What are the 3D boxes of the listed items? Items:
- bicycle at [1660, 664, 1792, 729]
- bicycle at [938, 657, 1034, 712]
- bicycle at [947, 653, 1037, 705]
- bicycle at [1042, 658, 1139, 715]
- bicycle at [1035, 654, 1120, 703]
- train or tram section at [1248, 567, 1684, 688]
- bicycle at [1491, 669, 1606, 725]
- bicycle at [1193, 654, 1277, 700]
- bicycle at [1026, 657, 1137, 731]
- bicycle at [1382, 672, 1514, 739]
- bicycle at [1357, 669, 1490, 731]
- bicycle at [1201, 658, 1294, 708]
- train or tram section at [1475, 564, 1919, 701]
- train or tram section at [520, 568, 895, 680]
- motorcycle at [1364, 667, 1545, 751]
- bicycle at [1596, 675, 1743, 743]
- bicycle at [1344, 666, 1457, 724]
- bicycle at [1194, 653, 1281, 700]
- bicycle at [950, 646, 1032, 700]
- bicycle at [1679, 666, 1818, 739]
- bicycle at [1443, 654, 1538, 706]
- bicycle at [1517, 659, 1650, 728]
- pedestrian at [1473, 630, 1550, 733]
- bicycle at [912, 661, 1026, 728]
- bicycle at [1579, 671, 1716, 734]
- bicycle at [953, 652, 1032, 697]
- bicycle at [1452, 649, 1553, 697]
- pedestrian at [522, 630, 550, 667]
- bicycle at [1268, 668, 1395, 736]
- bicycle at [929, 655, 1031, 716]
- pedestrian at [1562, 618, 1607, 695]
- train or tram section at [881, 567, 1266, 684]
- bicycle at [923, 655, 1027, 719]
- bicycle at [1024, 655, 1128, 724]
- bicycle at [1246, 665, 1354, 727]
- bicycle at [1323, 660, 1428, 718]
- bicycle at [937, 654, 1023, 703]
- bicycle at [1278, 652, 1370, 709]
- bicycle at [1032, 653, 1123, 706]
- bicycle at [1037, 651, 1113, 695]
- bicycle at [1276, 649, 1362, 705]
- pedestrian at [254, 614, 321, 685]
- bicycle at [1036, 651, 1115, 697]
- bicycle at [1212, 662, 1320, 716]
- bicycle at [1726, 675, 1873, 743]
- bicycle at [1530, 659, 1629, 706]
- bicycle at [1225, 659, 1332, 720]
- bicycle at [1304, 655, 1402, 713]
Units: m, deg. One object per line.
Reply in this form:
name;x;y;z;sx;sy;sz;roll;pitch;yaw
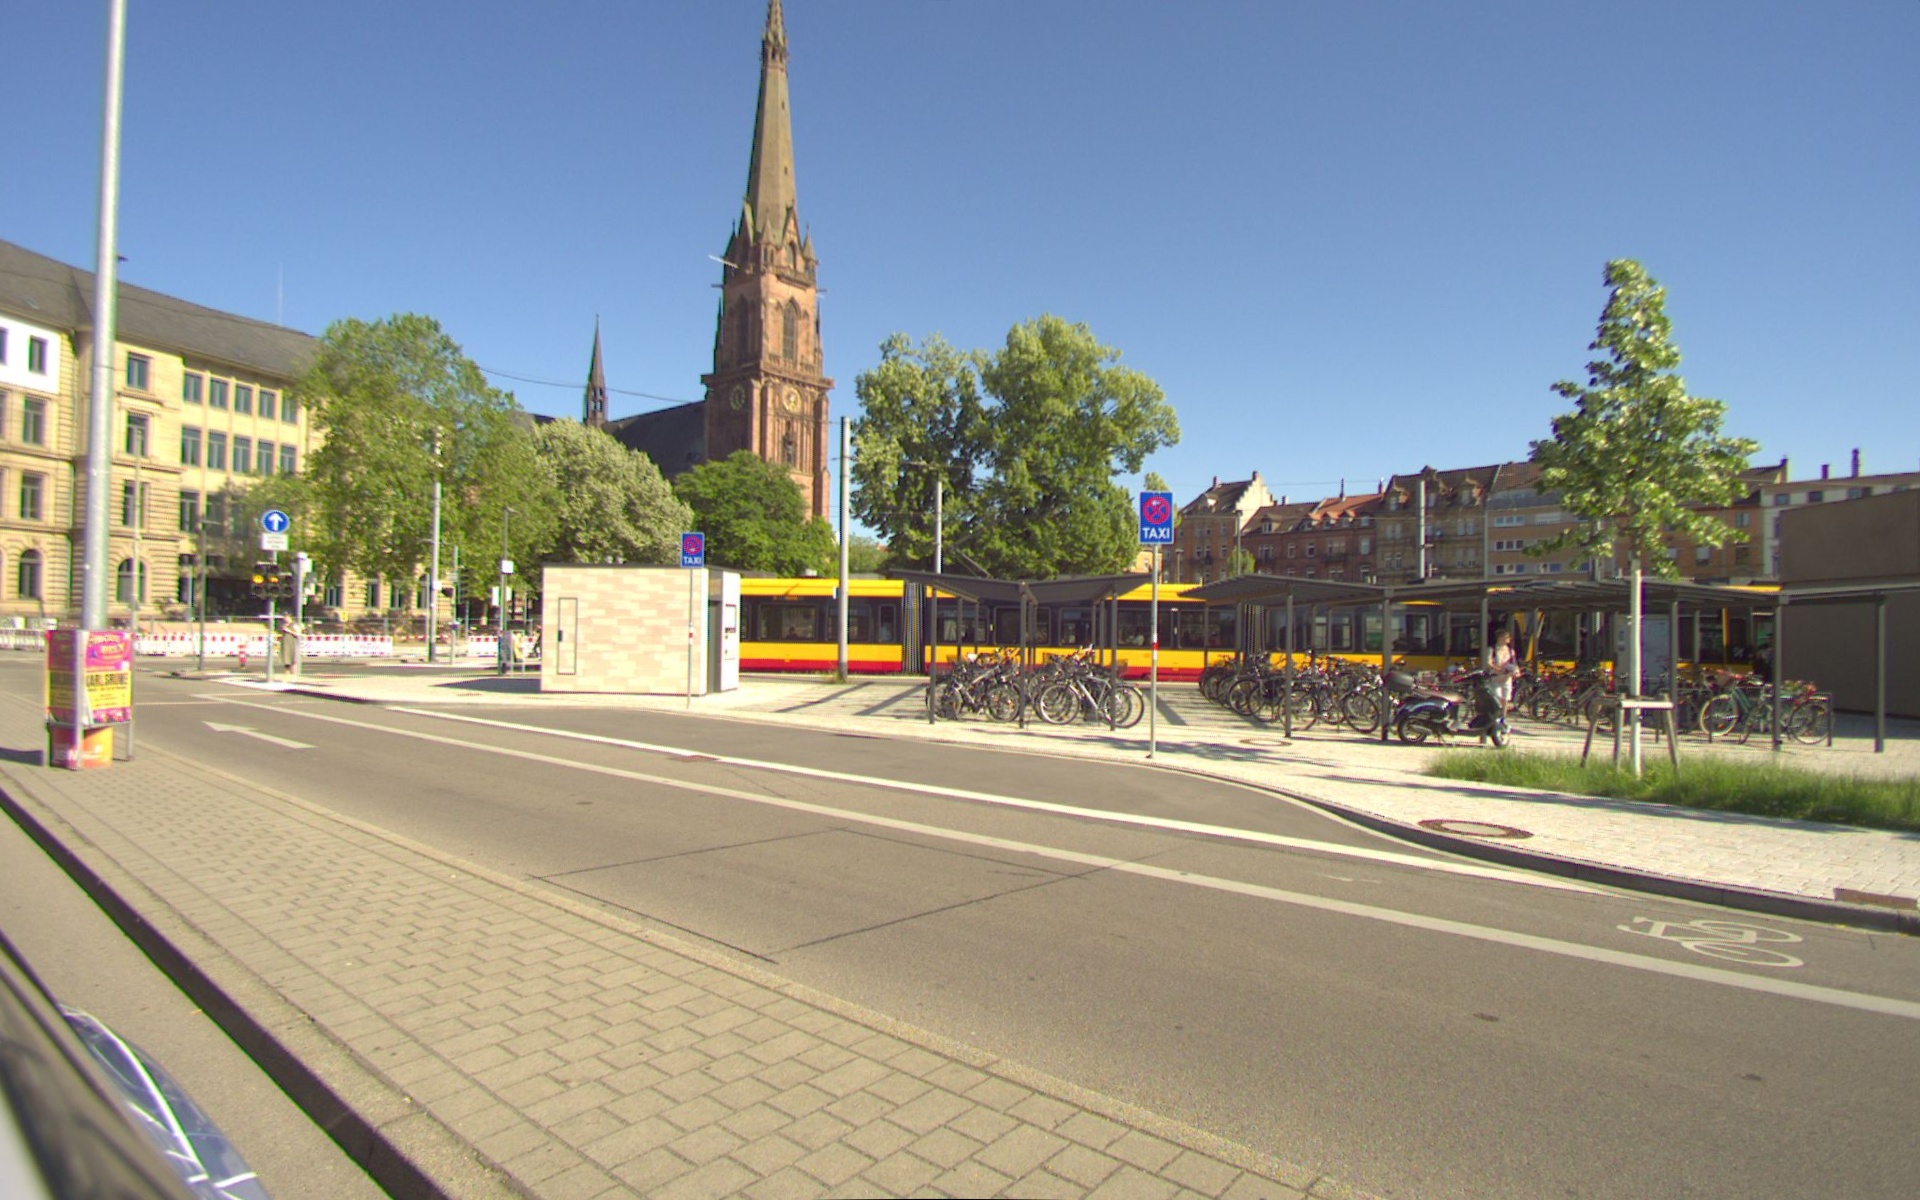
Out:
bicycle;13.752;1.723;18.204;1.808;1.101;0.627;0;-2;7
bicycle;0.522;1.643;19.830;1.809;1.015;0.627;0;-2;9
bicycle;0.674;1.624;20.985;1.809;1.015;0.627;0;-2;9
bicycle;2.482;1.643;19.386;1.808;1.015;0.745;0;-2;7
bicycle;2.539;1.697;21.968;1.808;1.015;0.627;0;-2;7
train or tram section;15.759;0.850;32.420;12.174;3.628;2.828;0;-2;6
bicycle;11.423;1.880;19.685;1.809;1.015;0.627;0;-2;9
bicycle;6.413;1.795;23.643;1.808;1.015;0.627;0;-2;6
bicycle;2.026;1.563;16.979;1.808;1.167;0.627;1;-2;7
bicycle;7.929;1.710;16.495;1.808;1.015;0.627;0;-2;7
bicycle;8.081;1.737;17.721;2.003;1.015;0.627;0;-2;7
bicycle;6.131;1.766;21.651;1.805;1.015;0.629;0;-2;0
train or tram section;21.515;0.878;28.558;12.179;3.628;2.748;0;-2;7
train or tram section;-8.582;0.789;34.983;12.382;3.628;2.796;0;-2;6
motorcycle;7.330;1.609;15.078;2.333;1.167;0.610;0;-2;7
bicycle;11.320;1.728;16.194;1.809;1.015;0.627;0;-2;9
bicycle;8.162;1.756;18.815;1.808;1.015;0.627;0;-2;7
bicycle;6.283;1.730;22.955;1.807;1.015;0.628;0;-2;5
bicycle;0.724;1.657;23.260;1.809;1.188;0.627;0;-2;9
bicycle;13.153;1.694;16.909;1.805;1.155;0.629;0;-2;0
bicycle;12.162;1.823;23.248;1.809;1.140;0.627;0;-2;9
bicycle;11.459;1.710;18.646;2.029;1.218;0.505;0;-2;8
pedestrian;9.506;1.376;17.493;0.829;1.718;1.022;0;-2;7
bicycle;0.167;1.590;17.212;1.847;1.015;0.699;2;-2;9
bicycle;11.765;1.748;17.370;1.872;1.004;0.499;0;-2;13
bicycle;0.781;1.761;23.960;1.809;1.015;0.627;0;-2;9
bicycle;11.849;1.586;22.152;1.809;1.015;0.627;0;-2;9
pedestrian;-20.316;2.318;48.493;0.923;1.754;0.805;0;-2;5
bicycle;6.139;1.683;16.823;1.871;1.050;0.688;0;-2;9
bicycle;0.374;1.551;18.611;1.809;1.059;0.571;0;-2;9
pedestrian;15.527;1.400;25.175;0.700;1.869;0.751;2;-2;-38
train or tram section;3.636;0.824;33.696;12.174;3.628;2.796;0;-2;6
bicycle;0.278;1.545;18.082;1.809;1.074;0.627;0;-2;9
bicycle;2.071;1.585;18.121;1.808;1.157;0.627;0;-2;7
bicycle;6.015;1.692;17.977;1.731;1.015;0.547;0;-2;10
bicycle;8.236;1.755;20.107;1.808;1.088;0.627;0;-2;7
bicycle;0.451;1.700;22.016;1.809;1.015;0.627;0;-2;9
bicycle;8.090;1.776;22.523;1.808;1.198;0.647;0;-2;7
bicycle;2.391;1.618;20.694;1.808;1.015;0.627;0;-2;7
bicycle;2.794;1.769;24.654;1.808;1.015;0.627;0;-2;7
bicycle;8.398;1.794;23.721;1.808;1.242;0.627;0;-2;7
pedestrian;-18.000;1.308;27.099;0.823;1.869;1.218;0;-2;26
bicycle;2.672;1.713;23.454;1.808;1.015;0.627;0;-2;7
bicycle;6.111;1.769;20.276;1.978;1.015;0.628;0;-2;4
bicycle;13.182;1.701;15.922;1.803;1.015;0.629;1;-2;-3
bicycle;14.214;1.890;23.251;1.808;1.015;0.627;0;-2;7
bicycle;6.038;1.690;19.255;1.859;1.101;0.626;0;-2;8
bicycle;8.272;1.754;21.373;1.808;1.170;0.627;0;-2;7
